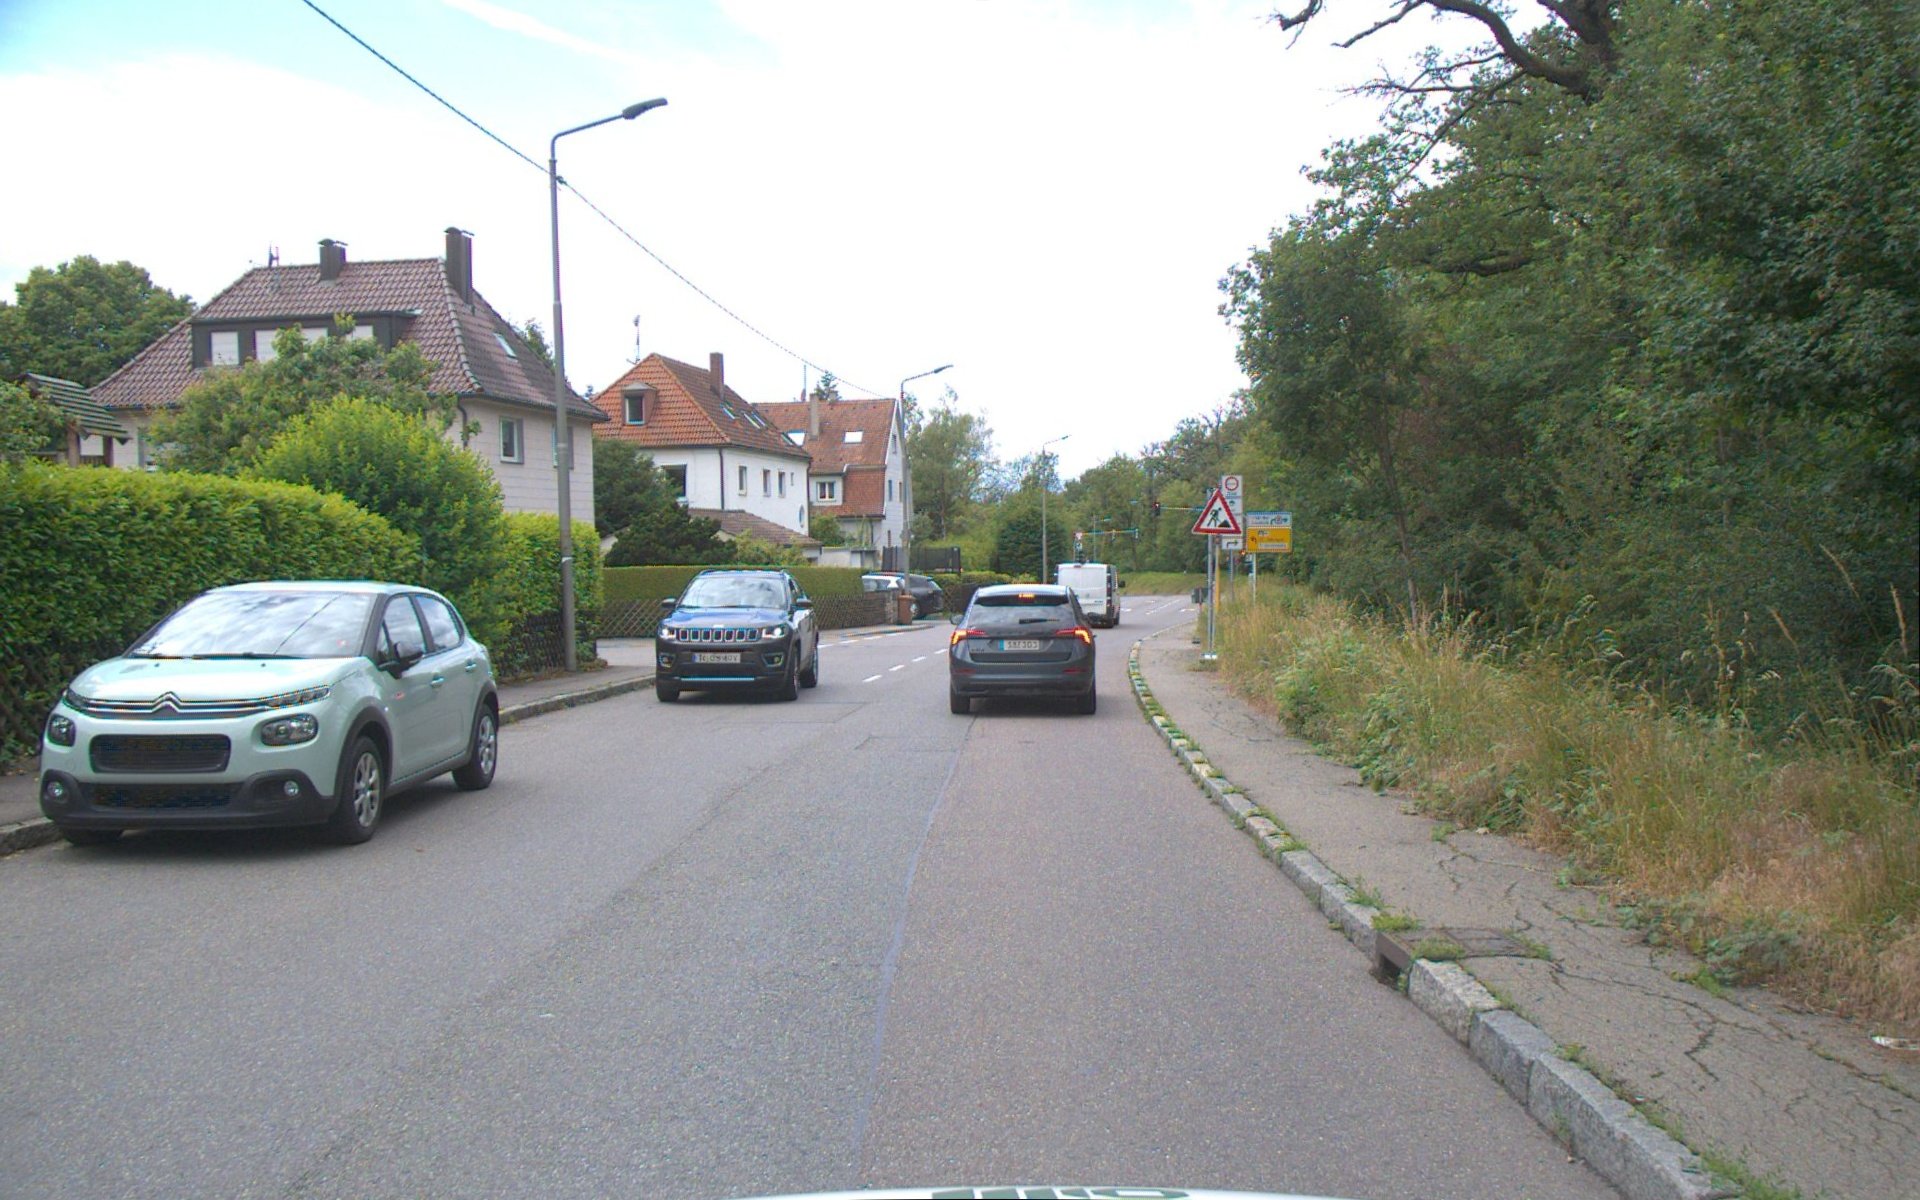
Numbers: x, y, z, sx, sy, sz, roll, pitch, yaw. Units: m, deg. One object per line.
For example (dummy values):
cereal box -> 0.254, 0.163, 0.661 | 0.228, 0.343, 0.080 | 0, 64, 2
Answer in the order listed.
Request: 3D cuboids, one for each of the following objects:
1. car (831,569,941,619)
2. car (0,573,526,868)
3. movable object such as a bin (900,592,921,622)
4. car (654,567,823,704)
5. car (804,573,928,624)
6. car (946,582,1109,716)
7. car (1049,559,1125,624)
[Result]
car -> -2.722, -0.229, 61.607 | 3.904, 1.735, 1.917 | -1, 1, 1
car -> -4.186, 0.609, 10.583 | 1.747, 1.526, 4.015 | 0, 0, 0
movable object such as a bin -> -1.581, 0.222, 53.184 | 0.586, 0.967, 0.580 | -1, 0, 5
car -> -2.858, 0.389, 22.227 | 1.796, 1.625, 4.323 | 0, 1, -2
car -> -3.207, -0.050, 56.737 | 3.902, 1.646, 2.002 | -1, 1, 8
car -> 0.730, 0.513, 20.398 | 1.693, 1.464, 4.322 | 0, 1, -2
car -> 4.095, -0.295, 52.578 | 2.027, 1.956, 4.927 | 0, 1, 9
